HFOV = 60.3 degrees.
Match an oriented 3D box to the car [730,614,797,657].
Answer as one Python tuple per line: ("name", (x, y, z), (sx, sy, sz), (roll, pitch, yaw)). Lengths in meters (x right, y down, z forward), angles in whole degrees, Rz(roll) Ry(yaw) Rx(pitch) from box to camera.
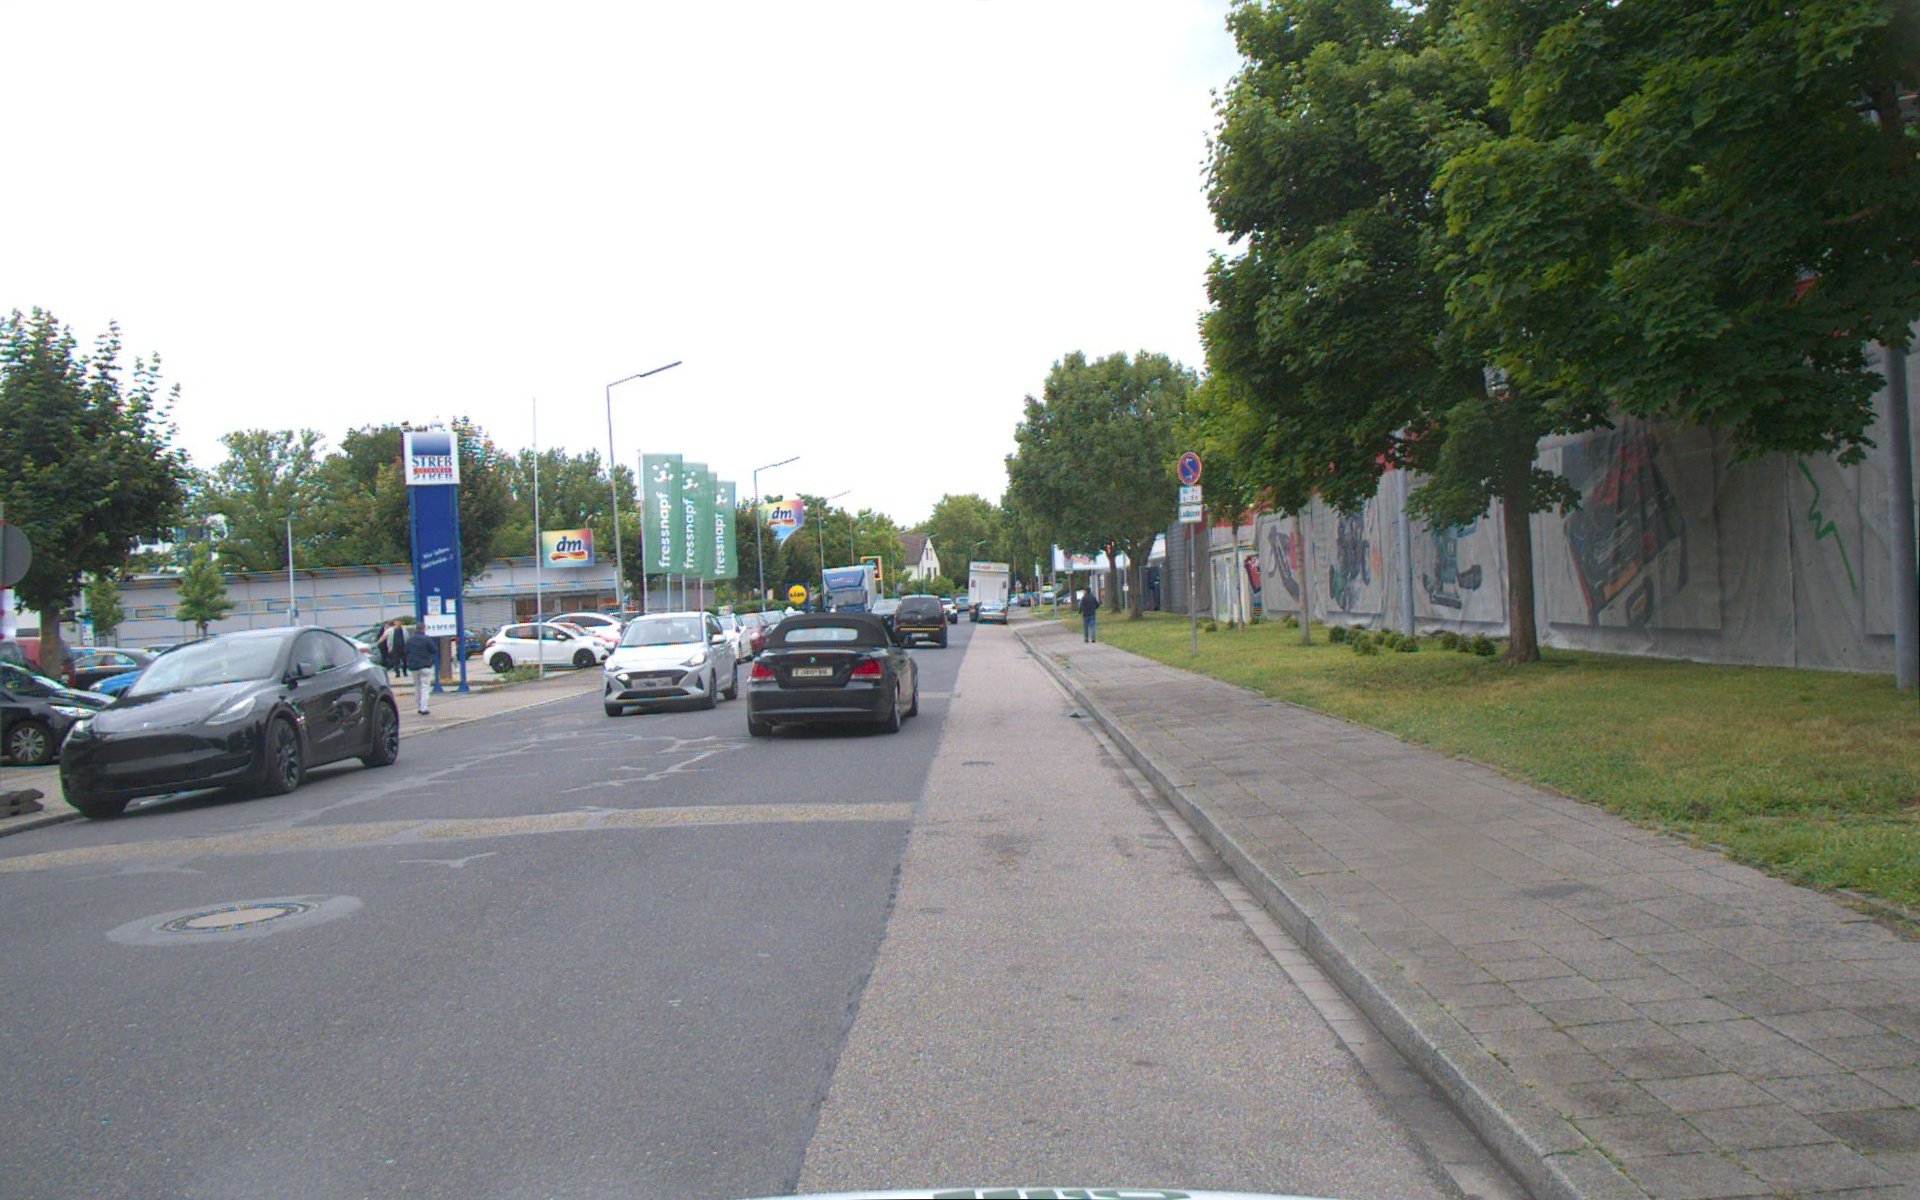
("car", (-7.252, 1.297, 61.321), (1.859, 1.391, 4.000), (-3, 0, 1))

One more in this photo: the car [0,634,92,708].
("car", (-24.244, 1.839, 41.436), (3.905, 1.698, 1.876), (-3, 0, 1))

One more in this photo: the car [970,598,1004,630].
("car", (1.603, 0.872, 99.958), (1.953, 1.837, 3.999), (-1, -1, 0))

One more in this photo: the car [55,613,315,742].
("car", (-14.162, 1.376, 30.397), (3.854, 2.048, 1.759), (-4, 0, -6))

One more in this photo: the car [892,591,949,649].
("car", (-1.262, 0.619, 52.298), (1.647, 1.660, 3.757), (-3, 0, -2))

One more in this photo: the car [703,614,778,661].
("car", (-7.339, 1.242, 55.697), (1.859, 1.391, 4.000), (-3, 0, 1))

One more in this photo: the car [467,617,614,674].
("car", (-13.031, 1.388, 51.567), (4.123, 1.488, 1.950), (-3, 0, -7))

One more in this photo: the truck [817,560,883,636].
("truck", (-6.265, -0.126, 94.848), (2.913, 4.024, 6.405), (-4, 0, 1))

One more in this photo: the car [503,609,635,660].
("car", (-13.278, 1.162, 56.406), (4.055, 1.488, 1.897), (-3, 0, -5))

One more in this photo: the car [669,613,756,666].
("car", (-7.347, 1.153, 49.469), (1.859, 1.391, 4.000), (-3, 0, 1))

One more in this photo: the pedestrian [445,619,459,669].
("pedestrian", (-16.161, 1.398, 52.634), (0.324, 1.597, 0.503), (-1, 0, -10))

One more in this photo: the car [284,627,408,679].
("car", (-23.288, 1.991, 62.815), (3.905, 1.698, 1.876), (-3, 0, 1))

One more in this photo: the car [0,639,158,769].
("car", (-13.583, 1.452, 23.070), (3.793, 1.649, 1.928), (-2, 0, 1))

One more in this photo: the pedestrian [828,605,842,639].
("pedestrian", (-6.340, 1.098, 83.913), (0.618, 1.665, 0.668), (-3, 0, 0))

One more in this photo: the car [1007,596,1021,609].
("car", (7.030, 0.341, 214.872), (1.847, 1.713, 4.255), (-1, 0, 2))

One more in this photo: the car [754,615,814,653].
("car", (-7.108, 1.353, 67.221), (1.859, 1.391, 4.000), (-3, 0, 1))

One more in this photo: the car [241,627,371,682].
("car", (-23.830, 1.980, 60.378), (3.905, 1.698, 1.876), (-3, 0, 1))

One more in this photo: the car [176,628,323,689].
("car", (-23.232, 1.913, 54.171), (3.905, 1.698, 1.876), (-3, 0, 1))

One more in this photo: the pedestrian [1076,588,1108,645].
("pedestrian", (3.975, 0.491, 49.861), (0.900, 1.663, 0.853), (-1, -1, 3))

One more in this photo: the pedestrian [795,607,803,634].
("pedestrian", (-9.545, 1.202, 97.845), (0.394, 1.558, 0.485), (-3, 0, -5))

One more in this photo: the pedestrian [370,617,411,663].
("pedestrian", (-26.649, 1.880, 77.378), (1.374, 2.048, 1.194), (-3, 0, -39))

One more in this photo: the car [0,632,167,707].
("car", (-23.606, 1.849, 44.133), (3.905, 1.698, 1.876), (-3, 0, 1))

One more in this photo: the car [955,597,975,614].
("car", (0.514, 0.522, 163.414), (1.847, 1.558, 4.255), (-1, 0, 2))

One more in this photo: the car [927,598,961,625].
("car", (-0.938, 0.665, 99.899), (1.847, 1.558, 4.255), (-1, 0, 2))

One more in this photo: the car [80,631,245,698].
("car", (-23.739, 1.906, 49.329), (3.905, 1.698, 1.876), (-3, 0, 1))

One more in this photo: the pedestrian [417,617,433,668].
("pedestrian", (-17.185, 1.359, 53.150), (0.352, 1.597, 0.503), (-3, 0, -10))

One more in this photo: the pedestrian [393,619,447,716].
("pedestrian", (-10.090, 1.254, 30.927), (0.760, 1.745, 0.696), (-2, 0, -4))

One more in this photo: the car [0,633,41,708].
("car", (-24.177, 1.772, 38.963), (3.905, 1.698, 1.876), (-3, 0, 1))

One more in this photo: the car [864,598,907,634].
("car", (-3.747, 0.793, 83.675), (1.953, 1.713, 3.999), (-2, -1, 0))

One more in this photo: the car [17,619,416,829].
("car", (-7.208, 1.107, 16.633), (1.908, 1.552, 4.402), (-7, 0, -1))

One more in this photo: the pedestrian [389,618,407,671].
("pedestrian", (-17.921, 1.412, 52.772), (0.448, 1.670, 0.373), (-3, 0, -17))

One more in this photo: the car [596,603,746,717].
("car", (-4.497, 0.902, 26.188), (1.566, 1.554, 3.528), (-4, -1, 1))

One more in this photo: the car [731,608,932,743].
("car", (-1.429, 0.835, 19.952), (1.709, 1.382, 4.140), (-3, -1, 5))

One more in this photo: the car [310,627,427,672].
("car", (-23.441, 1.955, 65.633), (3.905, 1.518, 1.786), (-3, 0, 1))

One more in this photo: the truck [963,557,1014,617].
("truck", (1.824, -0.762, 109.176), (3.071, 3.647, 10.049), (-1, -1, 0))
